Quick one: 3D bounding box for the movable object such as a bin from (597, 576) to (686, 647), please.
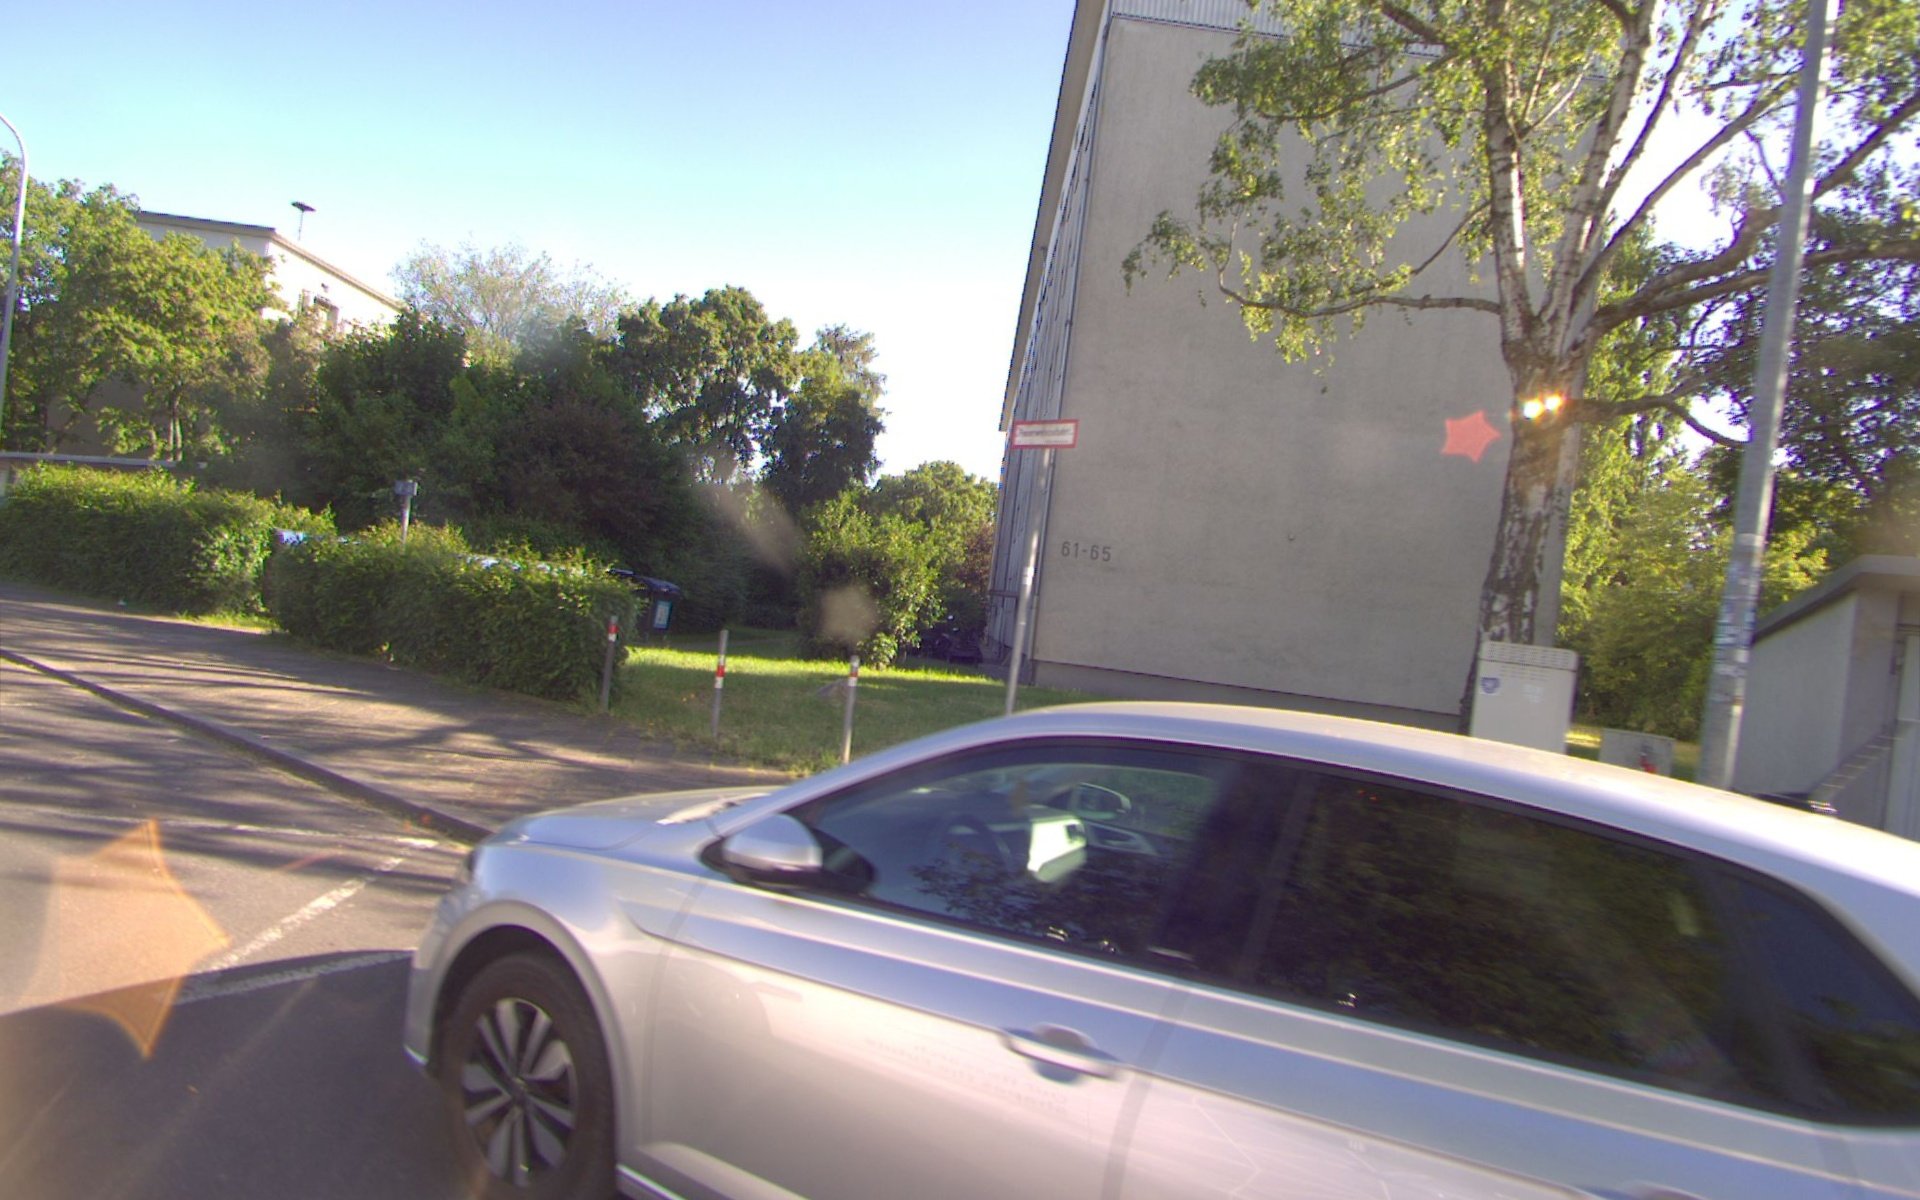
[{"bbox_3d":[-7.129,0.267,22.593,1.255,1.369,1.259,7,-1,21],"label":"movable object such as a bin"}]

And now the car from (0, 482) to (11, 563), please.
[{"bbox_3d":[-12.673,-0.735,11.155,4.552,1.658,1.911,7,-2,32],"label":"car"}]

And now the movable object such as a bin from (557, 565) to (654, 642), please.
[{"bbox_3d":[-7.418,0.085,21.101,1.256,1.369,1.259,7,-1,23],"label":"movable object such as a bin"}]

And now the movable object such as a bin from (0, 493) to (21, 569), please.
[{"bbox_3d":[-19.679,-1.449,20.116,1.212,1.471,0.918,7,0,32],"label":"movable object such as a bin"}]

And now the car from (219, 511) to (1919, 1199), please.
[{"bbox_3d":[0.213,0.812,2.565,4.034,1.530,1.758,7,-2,30],"label":"car"}]

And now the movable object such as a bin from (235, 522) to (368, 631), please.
[{"bbox_3d":[-10.310,-0.356,15.770,1.074,1.492,1.324,7,-1,37],"label":"movable object such as a bin"}]

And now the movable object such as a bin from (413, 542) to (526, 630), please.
[{"bbox_3d":[-8.977,-0.254,18.433,1.257,1.369,1.257,7,-1,31],"label":"movable object such as a bin"}]

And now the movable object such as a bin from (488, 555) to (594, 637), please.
[{"bbox_3d":[-8.126,-0.066,19.536,1.257,1.369,1.257,7,-1,31],"label":"movable object such as a bin"}]
